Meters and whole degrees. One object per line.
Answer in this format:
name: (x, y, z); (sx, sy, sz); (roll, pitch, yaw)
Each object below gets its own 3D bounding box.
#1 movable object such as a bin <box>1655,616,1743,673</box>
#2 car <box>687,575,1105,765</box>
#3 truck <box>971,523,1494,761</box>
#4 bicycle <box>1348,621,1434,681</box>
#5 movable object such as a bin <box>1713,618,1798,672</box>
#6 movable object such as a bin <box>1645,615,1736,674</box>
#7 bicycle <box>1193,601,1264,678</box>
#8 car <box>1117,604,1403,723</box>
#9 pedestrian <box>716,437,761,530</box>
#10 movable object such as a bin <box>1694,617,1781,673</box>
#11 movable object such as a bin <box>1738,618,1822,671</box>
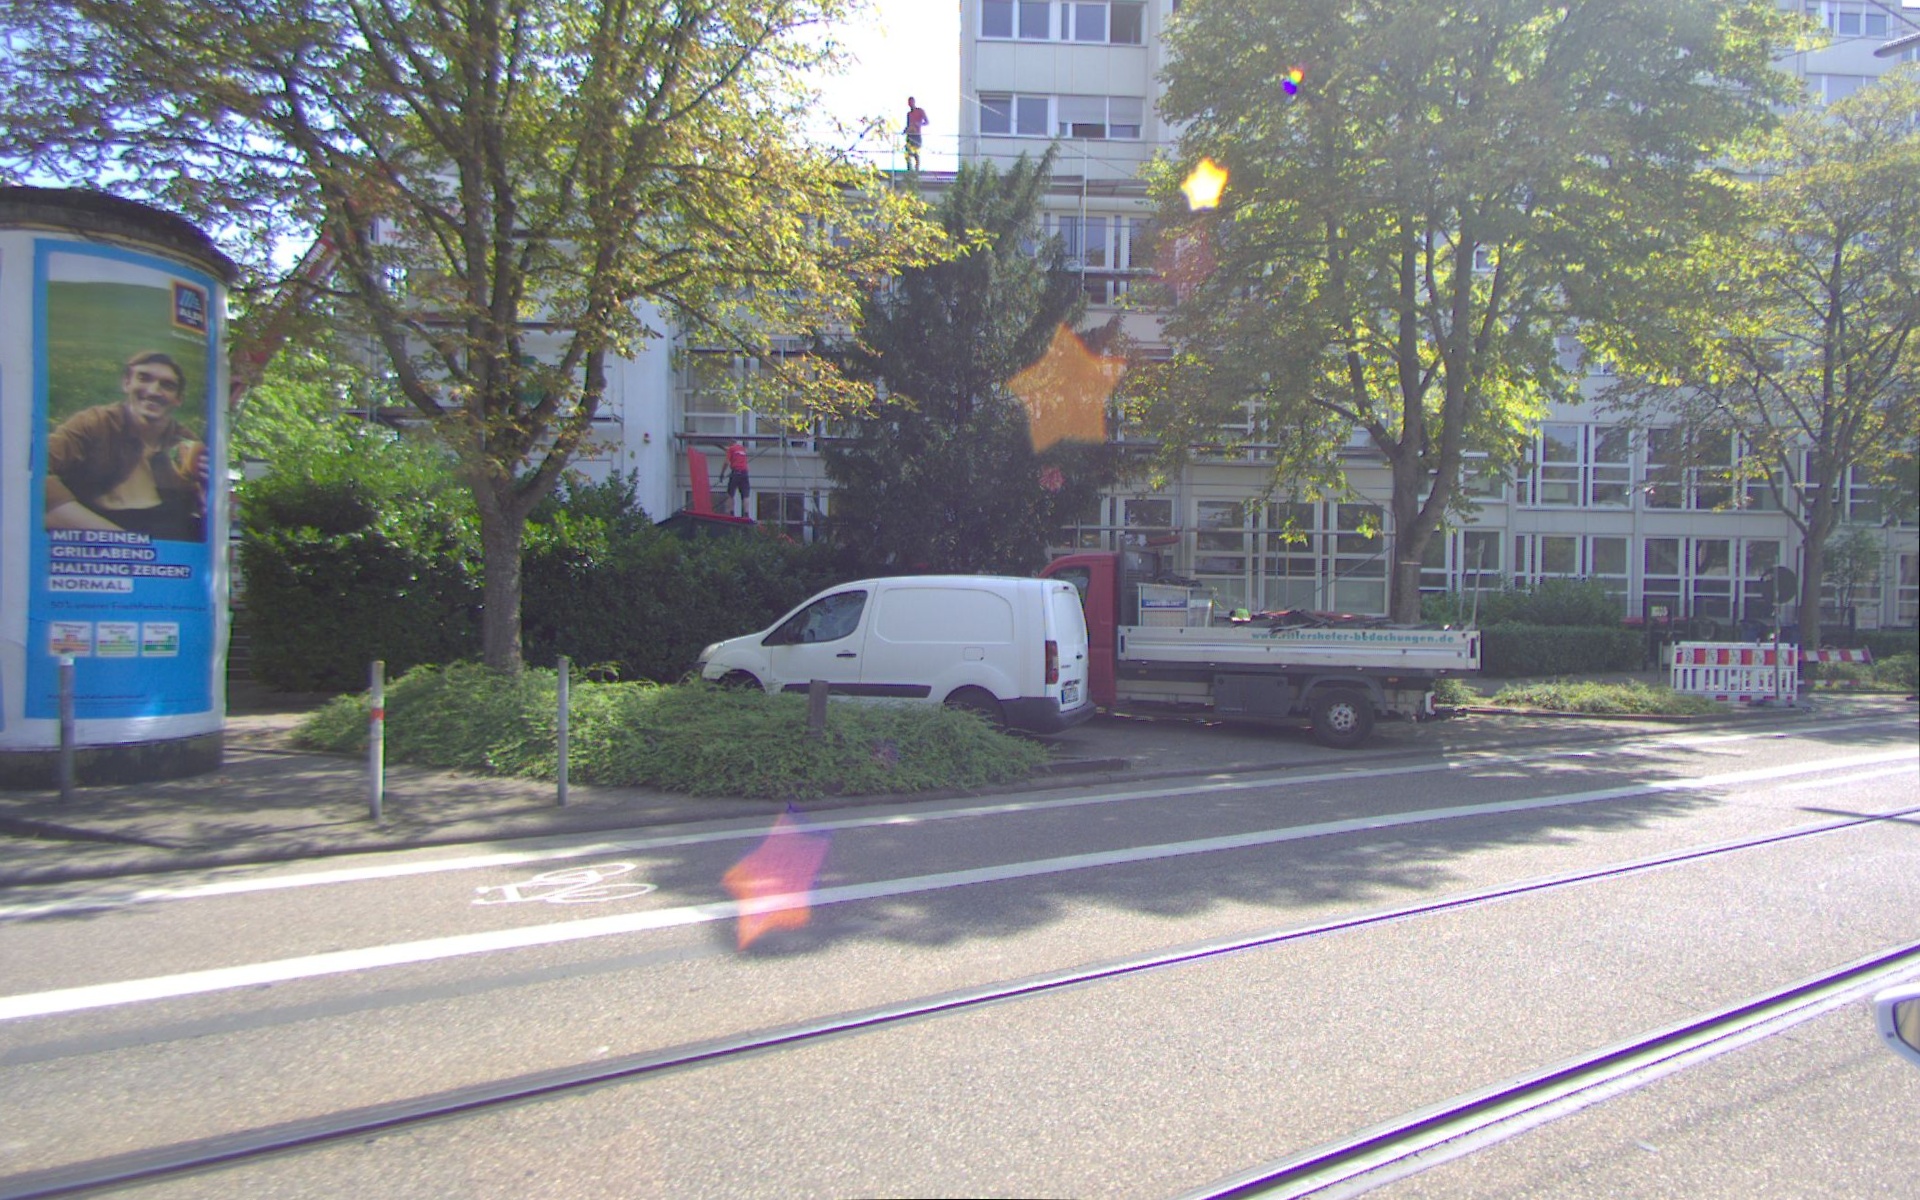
movable object such as a bin: (21.548, 1.282, 29.317); (1.338, 1.580, 1.675); (1, -1, -29)
car: (-0.669, 0.658, 11.055); (4.201, 1.795, 1.825); (1, 0, 19)
truck: (3.256, 0.435, 12.567); (5.854, 2.467, 2.150); (0, -1, 23)
bicycle: (9.777, 1.122, 22.884); (0.552, 1.185, 2.341); (2, 1, -11)
movable object such as a bin: (24.359, 1.350, 30.766); (1.338, 1.580, 1.675); (1, -1, -29)
movable object such as a bin: (20.513, 1.234, 28.235); (1.338, 1.580, 1.675); (1, -1, -29)
bicycle: (5.881, 0.820, 22.144); (0.591, 1.546, 2.343); (2, 1, -8)
car: (4.335, 0.861, 14.713); (3.783, 1.528, 1.721); (1, -1, 19)
pedestrian: (-4.482, -2.344, 20.341); (0.836, 1.749, 0.750); (1, 0, -12)
movable object such as a bin: (23.094, 1.312, 29.868); (1.338, 1.580, 1.675); (1, -1, -29)
movable object such as a bin: (25.647, 1.365, 31.449); (1.338, 1.580, 1.675); (1, -1, -29)
